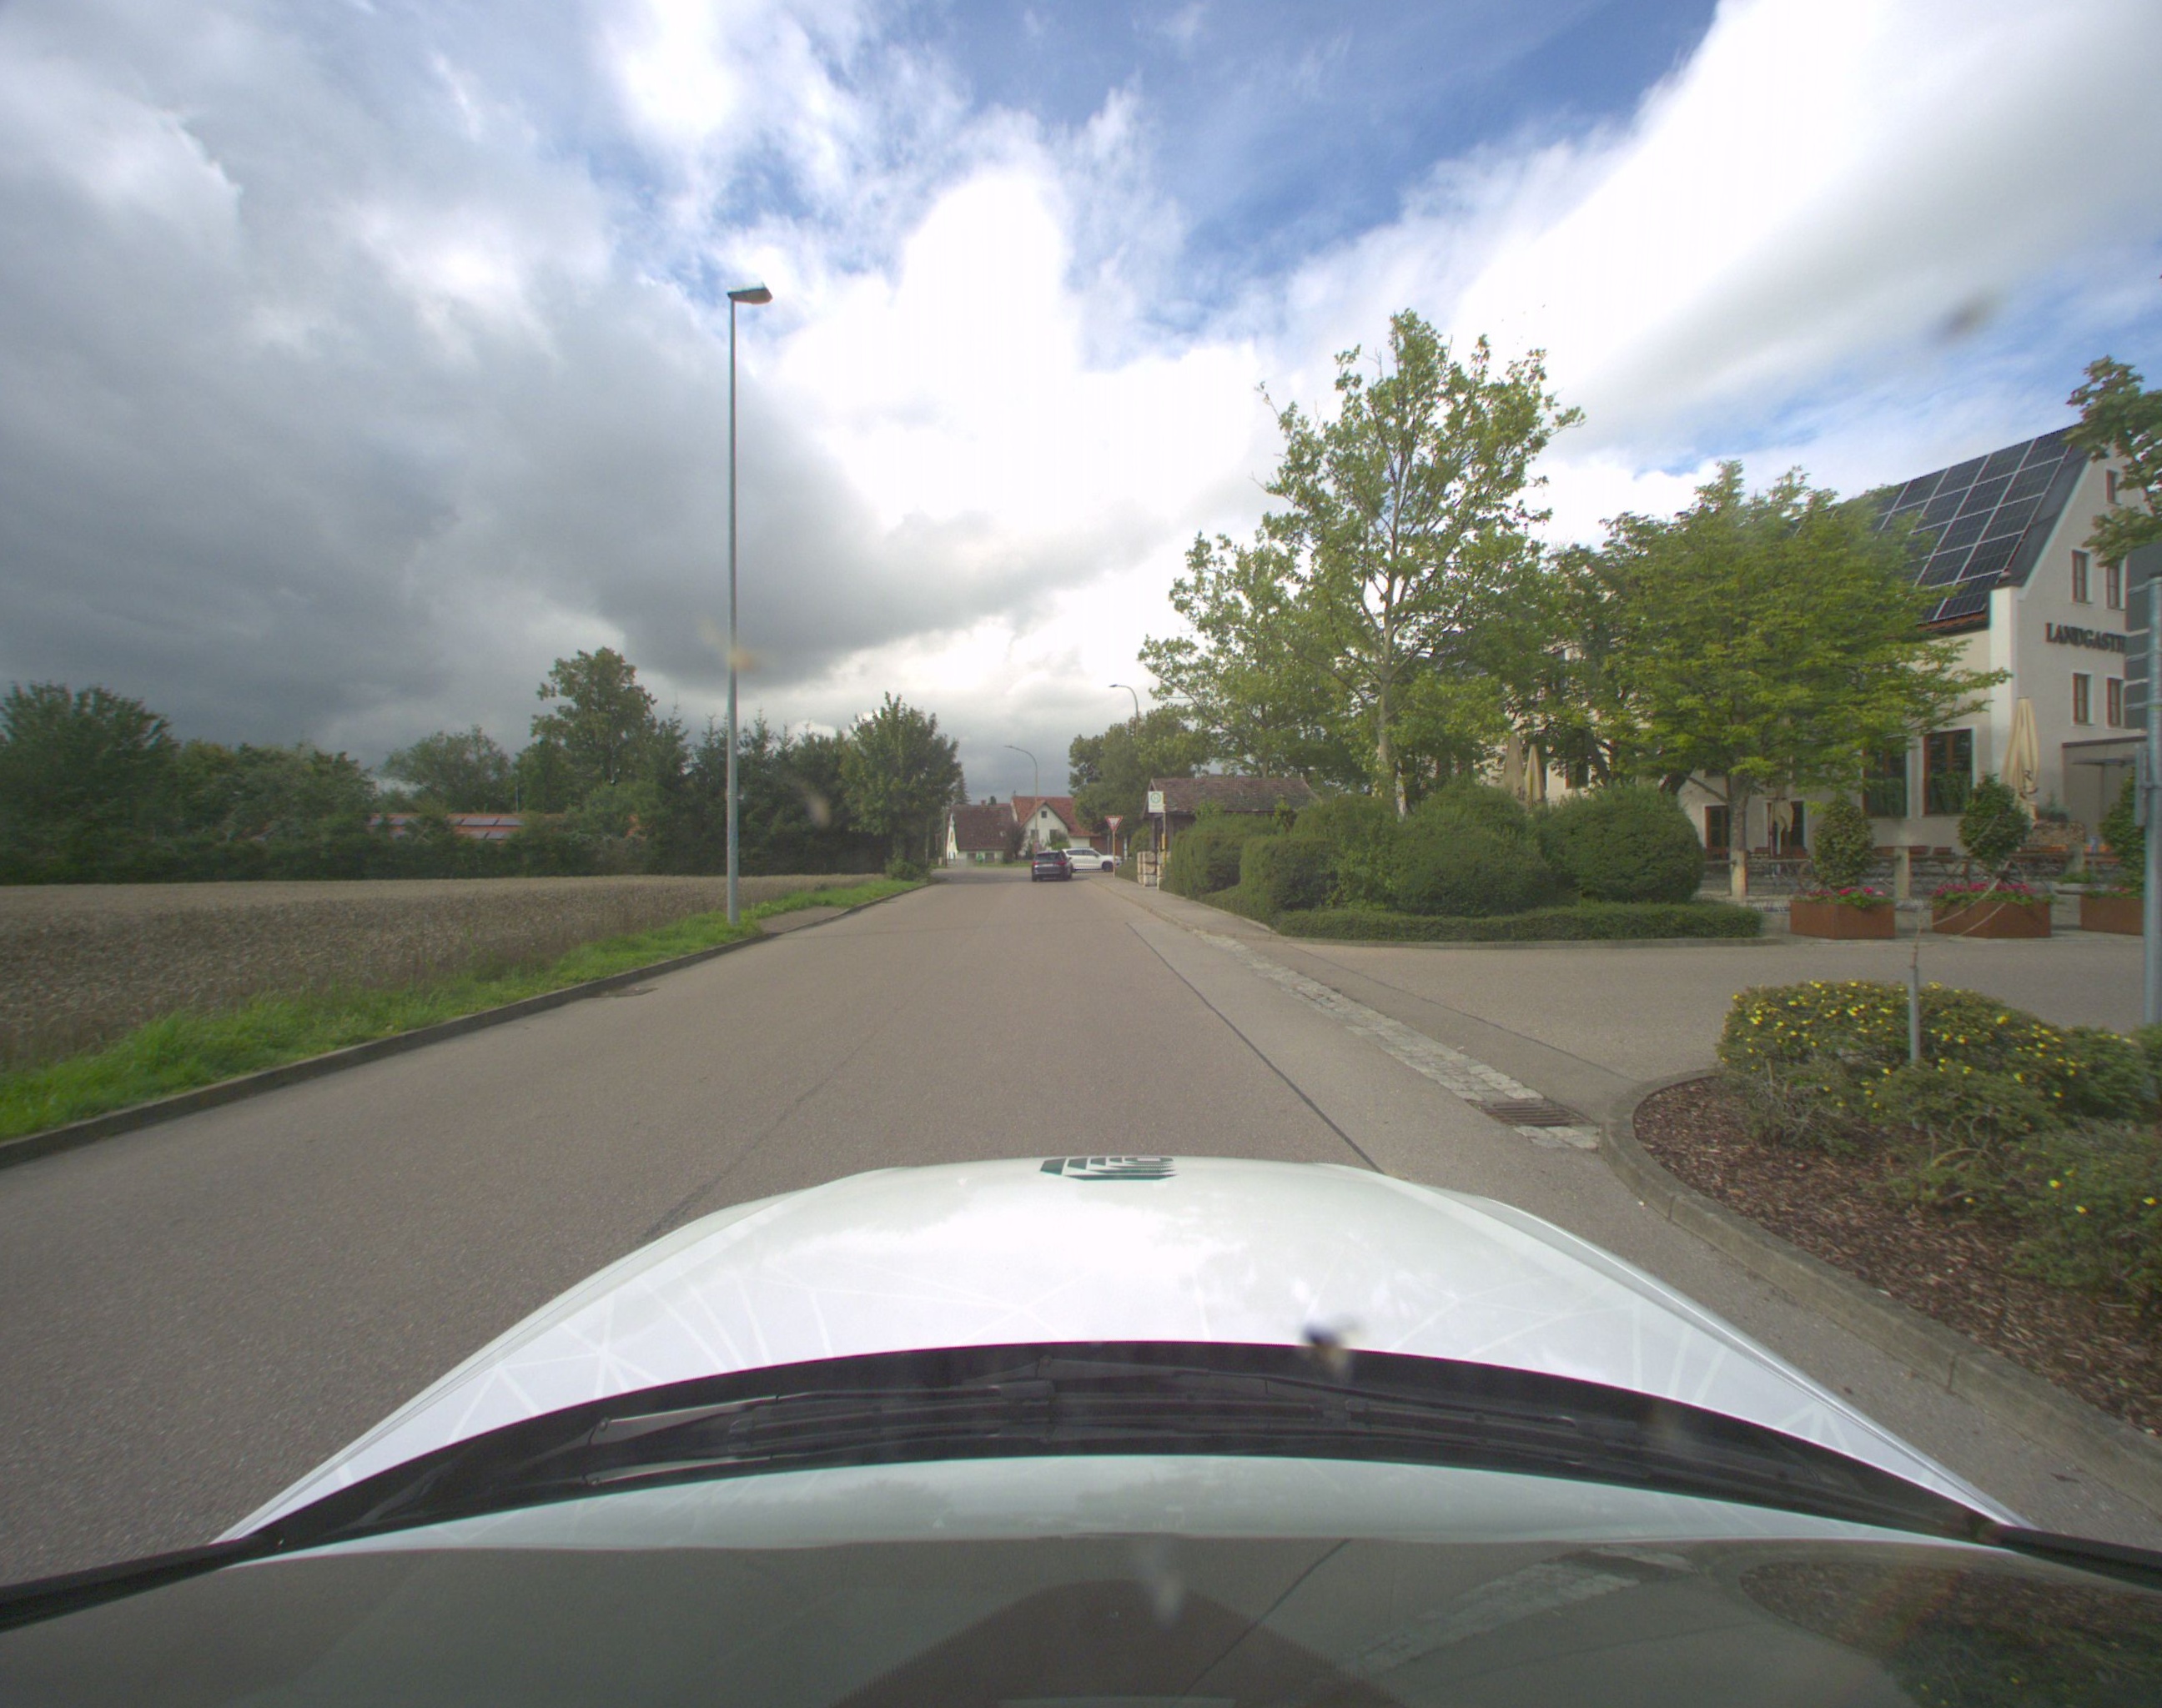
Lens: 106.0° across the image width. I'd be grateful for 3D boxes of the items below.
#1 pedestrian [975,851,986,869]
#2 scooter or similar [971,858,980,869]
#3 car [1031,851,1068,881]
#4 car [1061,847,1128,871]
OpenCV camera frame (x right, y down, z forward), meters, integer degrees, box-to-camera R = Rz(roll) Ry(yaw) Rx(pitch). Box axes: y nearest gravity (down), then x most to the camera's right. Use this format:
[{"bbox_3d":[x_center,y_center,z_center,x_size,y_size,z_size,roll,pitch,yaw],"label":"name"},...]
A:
[{"bbox_3d":[-9.681,0.598,78.495,0.794,1.665,0.704,5,-3,-36],"label":"pedestrian"},{"bbox_3d":[-10.238,0.926,78.947,0.635,0.948,0.615,5,-3,-36],"label":"scooter or similar"},{"bbox_3d":[-1.640,0.593,41.932,1.794,1.462,3.659,-1,0,-2],"label":"car"},{"bbox_3d":[0.886,0.311,52.491,3.948,1.515,1.811,0,0,14],"label":"car"}]
